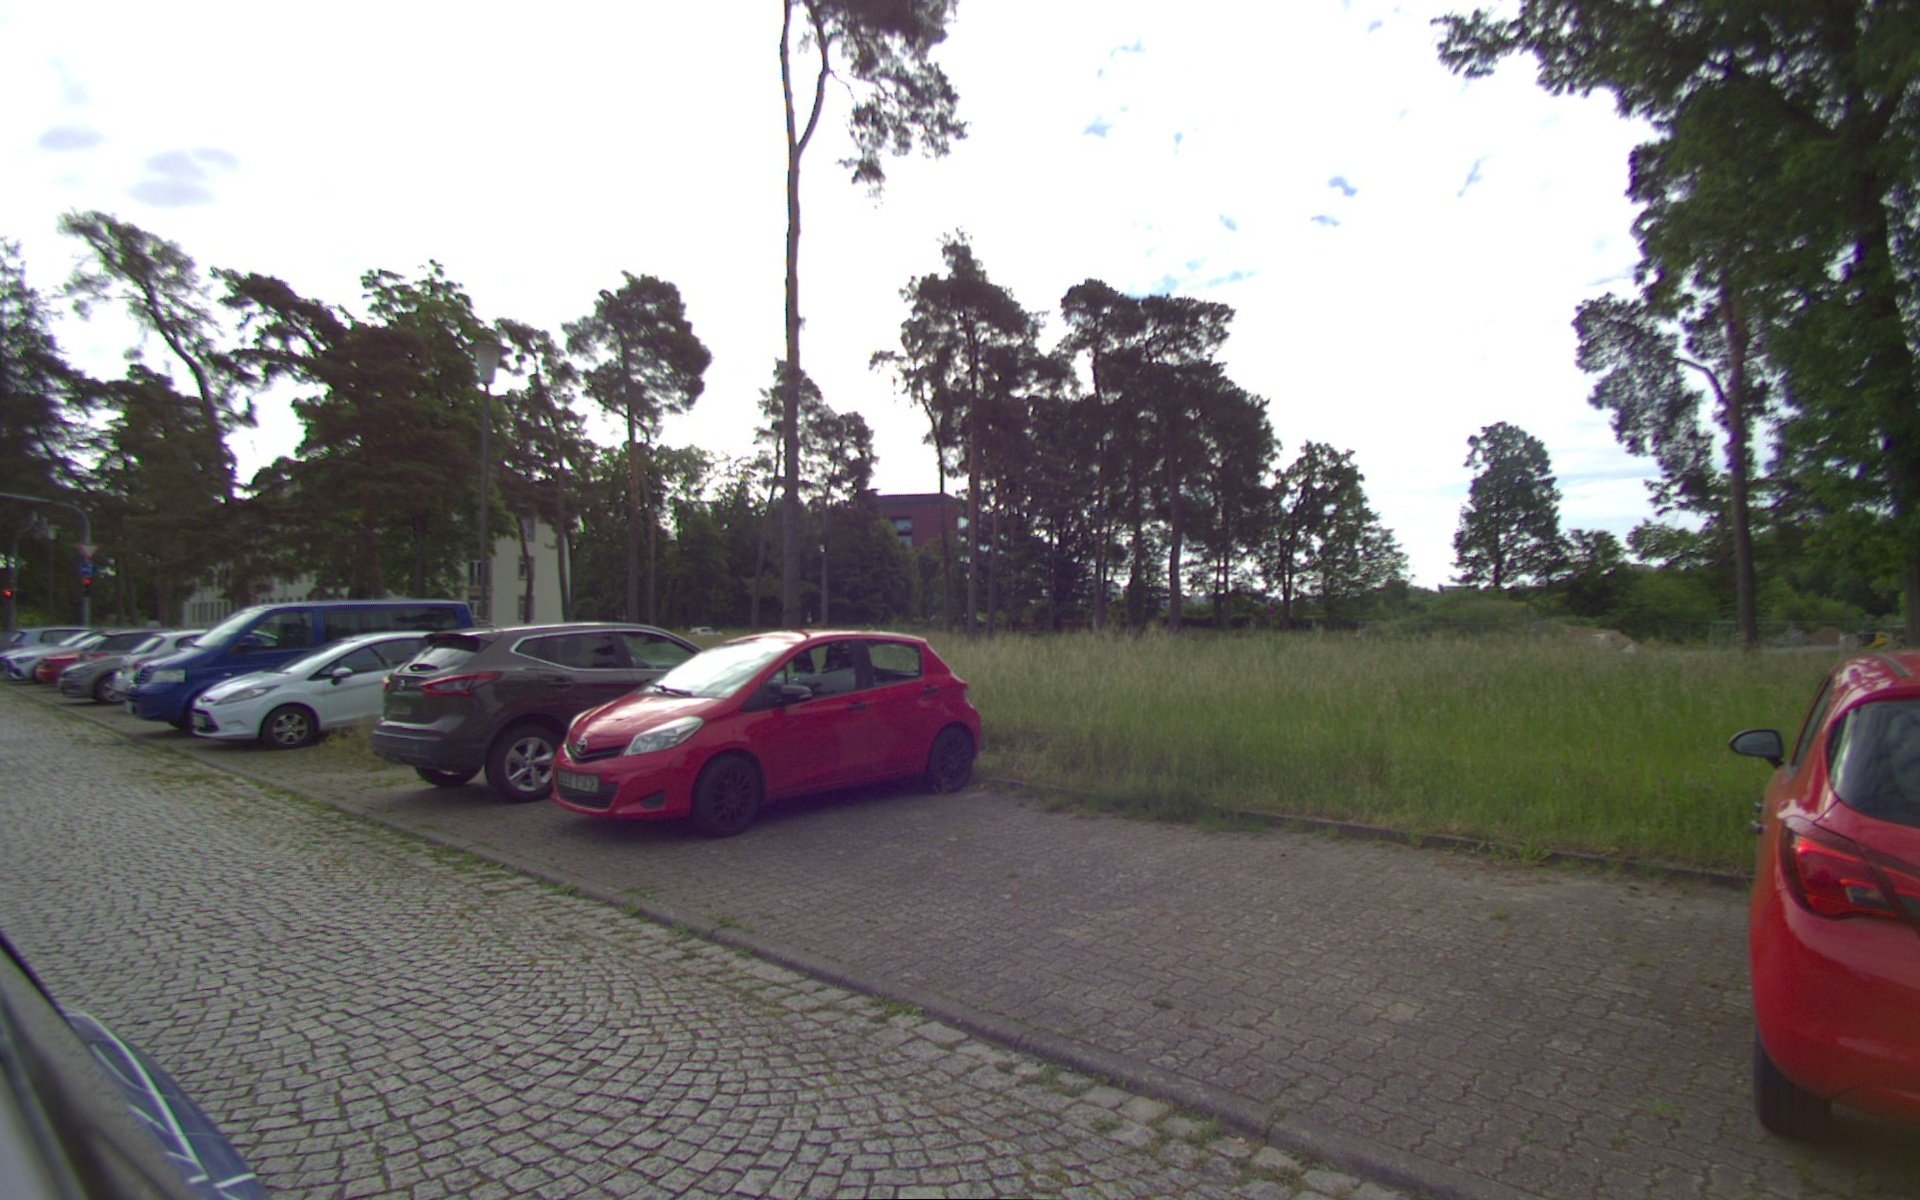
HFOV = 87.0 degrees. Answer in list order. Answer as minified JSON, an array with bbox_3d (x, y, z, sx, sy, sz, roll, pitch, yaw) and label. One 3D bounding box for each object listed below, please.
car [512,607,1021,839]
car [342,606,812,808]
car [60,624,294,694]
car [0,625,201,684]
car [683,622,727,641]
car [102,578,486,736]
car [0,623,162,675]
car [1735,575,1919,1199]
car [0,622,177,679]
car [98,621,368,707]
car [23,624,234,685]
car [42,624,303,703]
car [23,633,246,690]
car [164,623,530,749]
[{"bbox_3d":[-1.453,0.868,8.877,1.906,1.522,4.124,-1,-2,40],"label":"car"},{"bbox_3d":[-3.718,0.923,10.447,1.984,1.634,4.125,-1,-2,39],"label":"car"},{"bbox_3d":[-18.404,1.326,23.932,1.845,1.493,4.121,-2,-2,42],"label":"car"},{"bbox_3d":[-24.222,1.459,28.398,1.934,1.519,4.330,-1,-2,39],"label":"car"},{"bbox_3d":[-25.092,3.116,99.687,1.722,1.821,3.942,-2,-2,44],"label":"car"},{"bbox_3d":[-10.464,0.832,16.224,2.114,2.138,4.733,-2,-2,40],"label":"car"},{"bbox_3d":[-28.099,1.512,32.220,1.904,1.555,3.946,-1,-2,40],"label":"car"},{"bbox_3d":[4.060,0.735,3.595,1.903,1.537,4.014,-1,-2,40],"label":"car"},{"bbox_3d":[-26.260,1.459,30.235,1.933,1.560,4.210,-1,-2,38],"label":"car"},{"bbox_3d":[-14.217,1.184,19.963,1.845,1.509,4.024,-2,-2,42],"label":"car"},{"bbox_3d":[-22.238,1.404,27.181,1.863,1.488,4.123,-2,-2,40],"label":"car"},{"bbox_3d":[-16.630,1.270,21.513,1.864,1.503,4.120,-2,-2,43],"label":"car"},{"bbox_3d":[-20.623,1.485,25.420,1.831,1.276,4.121,-2,-2,42],"label":"car"},{"bbox_3d":[-8.564,1.101,14.456,1.779,1.522,4.125,-1,-2,39],"label":"car"}]
